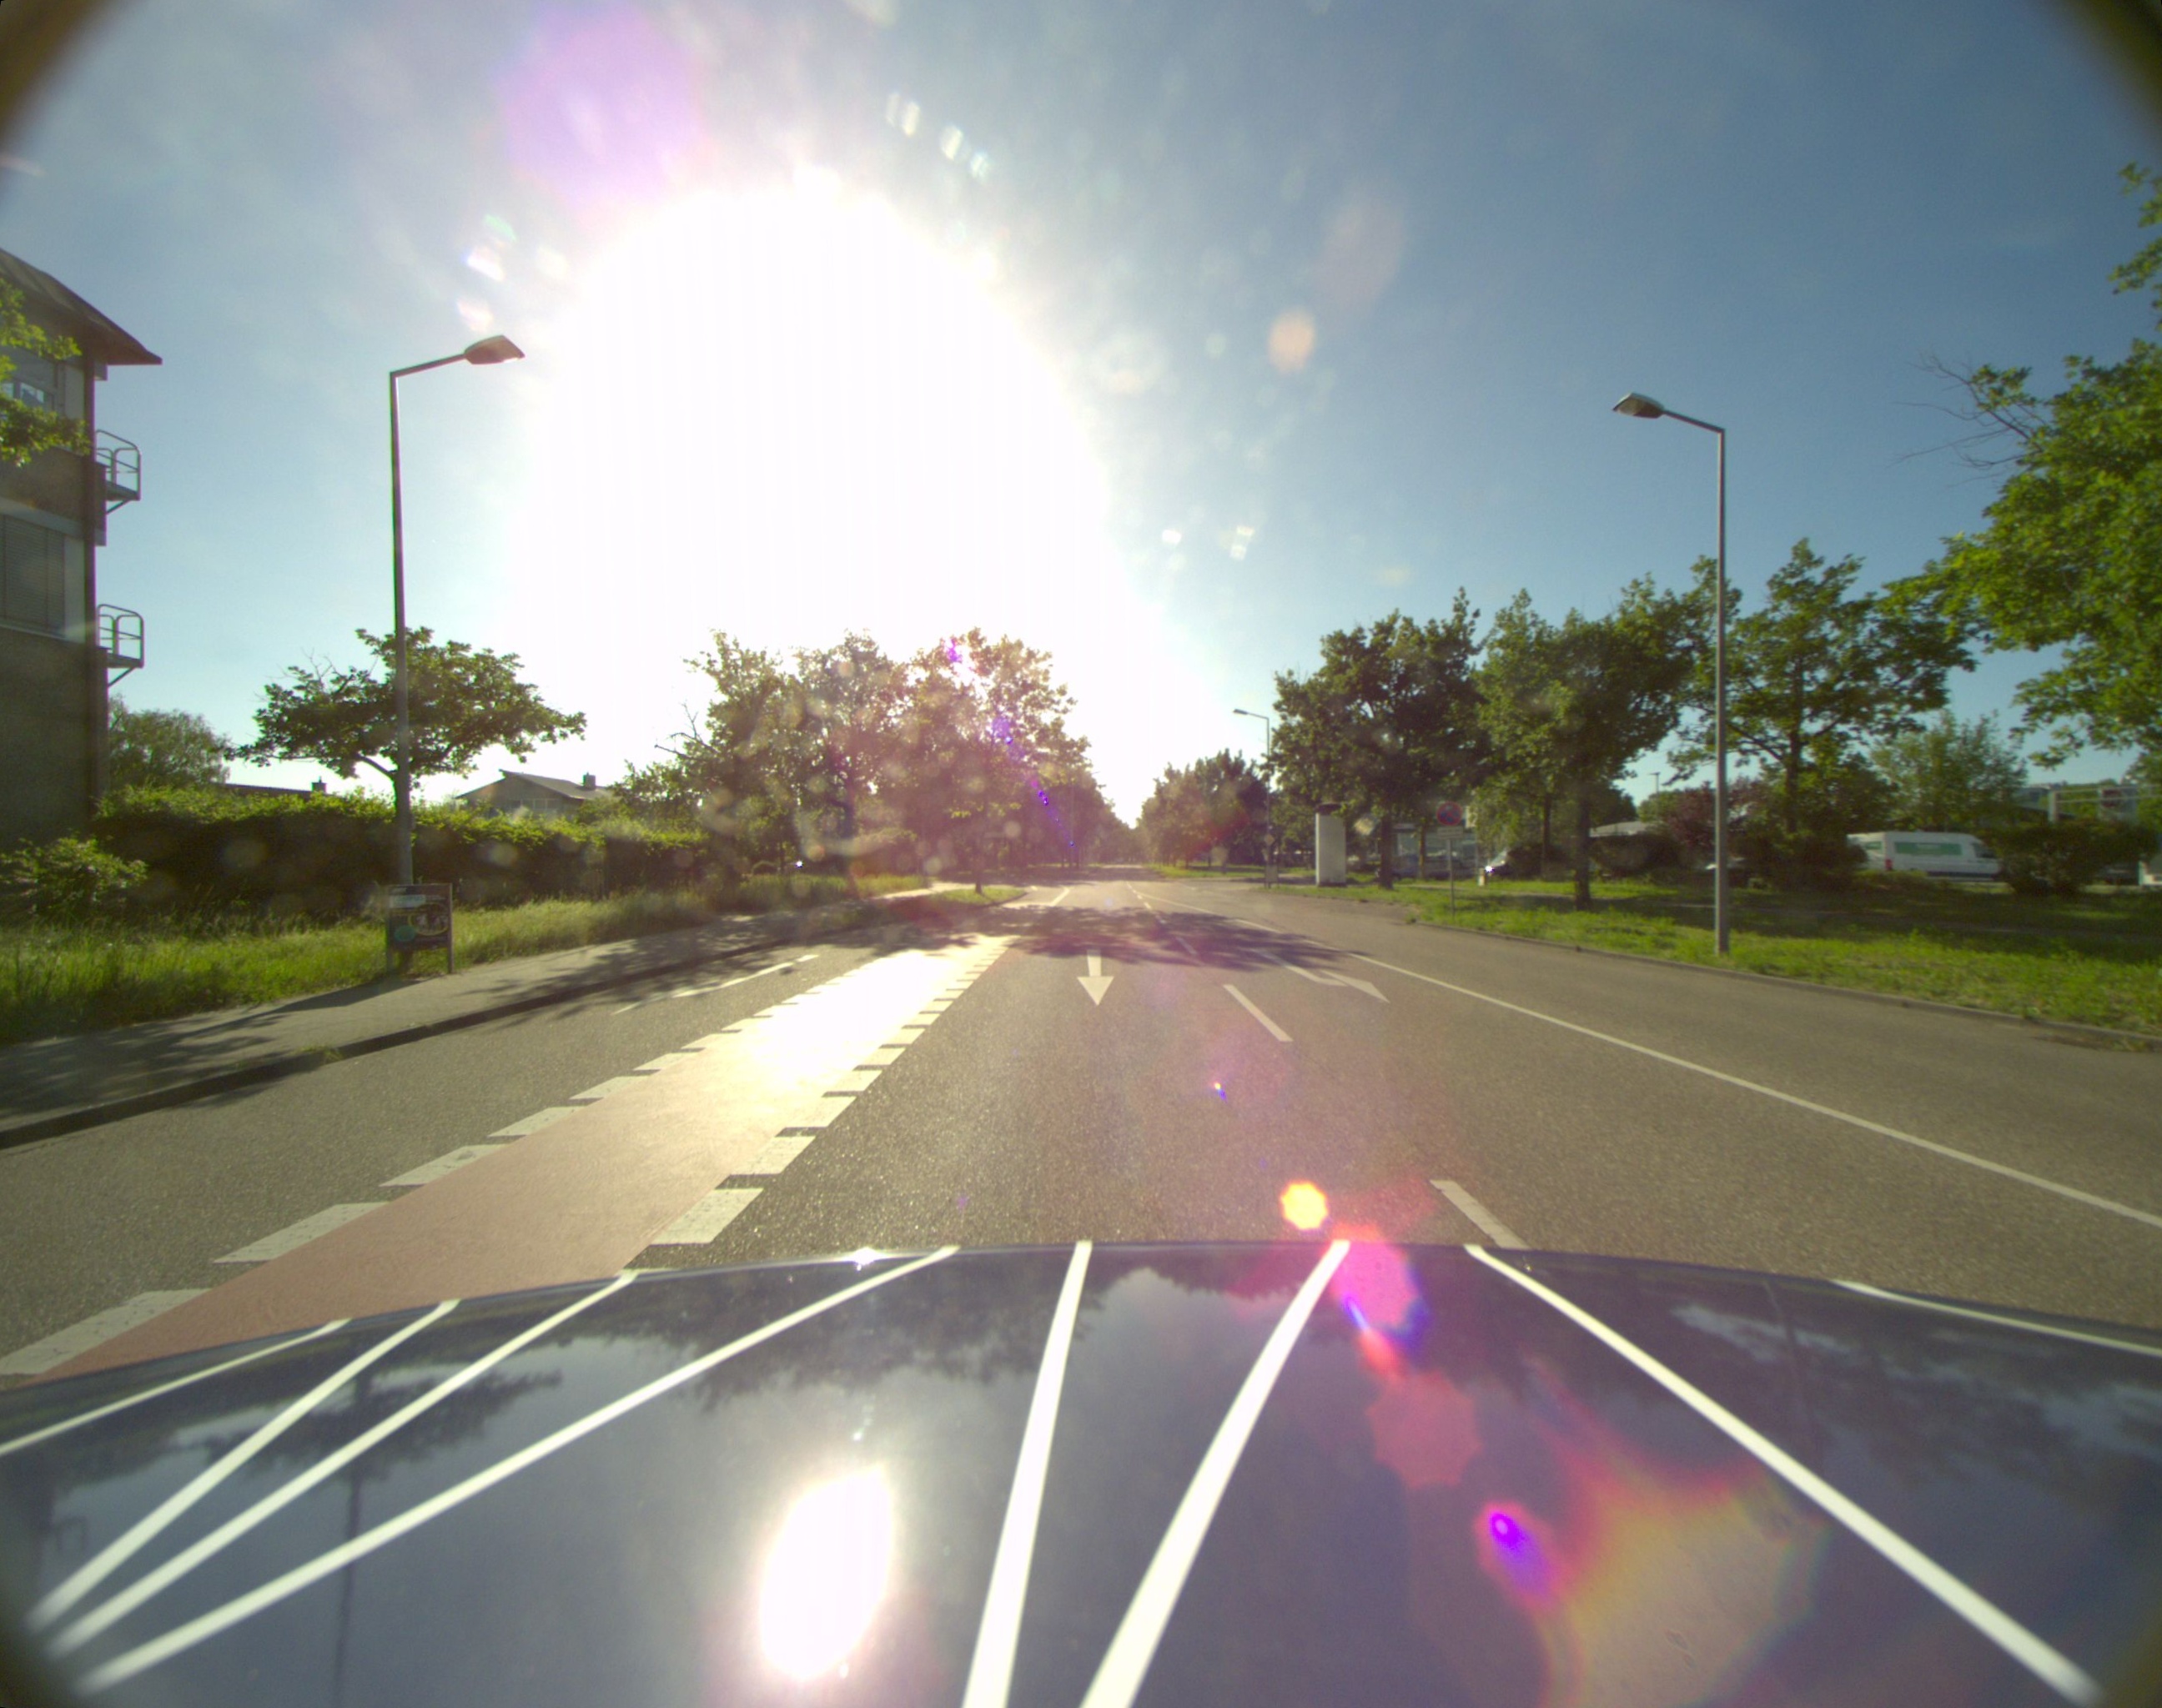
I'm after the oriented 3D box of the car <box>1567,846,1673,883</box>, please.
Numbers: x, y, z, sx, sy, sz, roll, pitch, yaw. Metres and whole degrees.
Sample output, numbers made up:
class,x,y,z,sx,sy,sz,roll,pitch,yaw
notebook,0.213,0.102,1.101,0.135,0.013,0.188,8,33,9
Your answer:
class,x,y,z,sx,sy,sz,roll,pitch,yaw
car,39.964,0.732,56.405,6.356,2.501,2.300,-2,1,-3

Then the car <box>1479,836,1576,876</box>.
class,x,y,z,sx,sy,sz,roll,pitch,yaw
car,32.854,0.120,56.029,5.878,2.687,2.300,-2,1,-3

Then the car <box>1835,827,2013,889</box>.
class,x,y,z,sx,sy,sz,roll,pitch,yaw
car,40.052,0.179,36.208,6.176,2.687,2.300,-2,1,-3

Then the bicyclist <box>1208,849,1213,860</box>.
class,x,y,z,sx,sy,sz,roll,pitch,yaw
bicyclist,19.309,0.028,113.384,0.665,1.619,0.659,-2,1,3

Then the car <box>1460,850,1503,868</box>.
class,x,y,z,sx,sy,sz,roll,pitch,yaw
car,39.699,0.487,75.343,1.998,1.486,4.296,-2,2,0

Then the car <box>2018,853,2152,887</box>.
class,x,y,z,sx,sy,sz,roll,pitch,yaw
car,41.145,0.640,31.192,3.532,1.294,1.574,-1,0,-2

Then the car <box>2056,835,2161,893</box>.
class,x,y,z,sx,sy,sz,roll,pitch,yaw
car,40.385,0.357,28.304,5.424,2.058,2.300,0,0,-3

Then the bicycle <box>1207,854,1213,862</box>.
class,x,y,z,sx,sy,sz,roll,pitch,yaw
bicycle,19.312,0.603,113.510,0.552,1.155,2.334,-2,1,3

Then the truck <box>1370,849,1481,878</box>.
class,x,y,z,sx,sy,sz,roll,pitch,yaw
truck,25.040,0.671,55.404,7.130,2.038,2.140,0,1,-2

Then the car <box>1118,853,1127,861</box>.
class,x,y,z,sx,sy,sz,roll,pitch,yaw
car,8.975,0.656,165.011,1.827,1.477,3.999,-2,1,1
